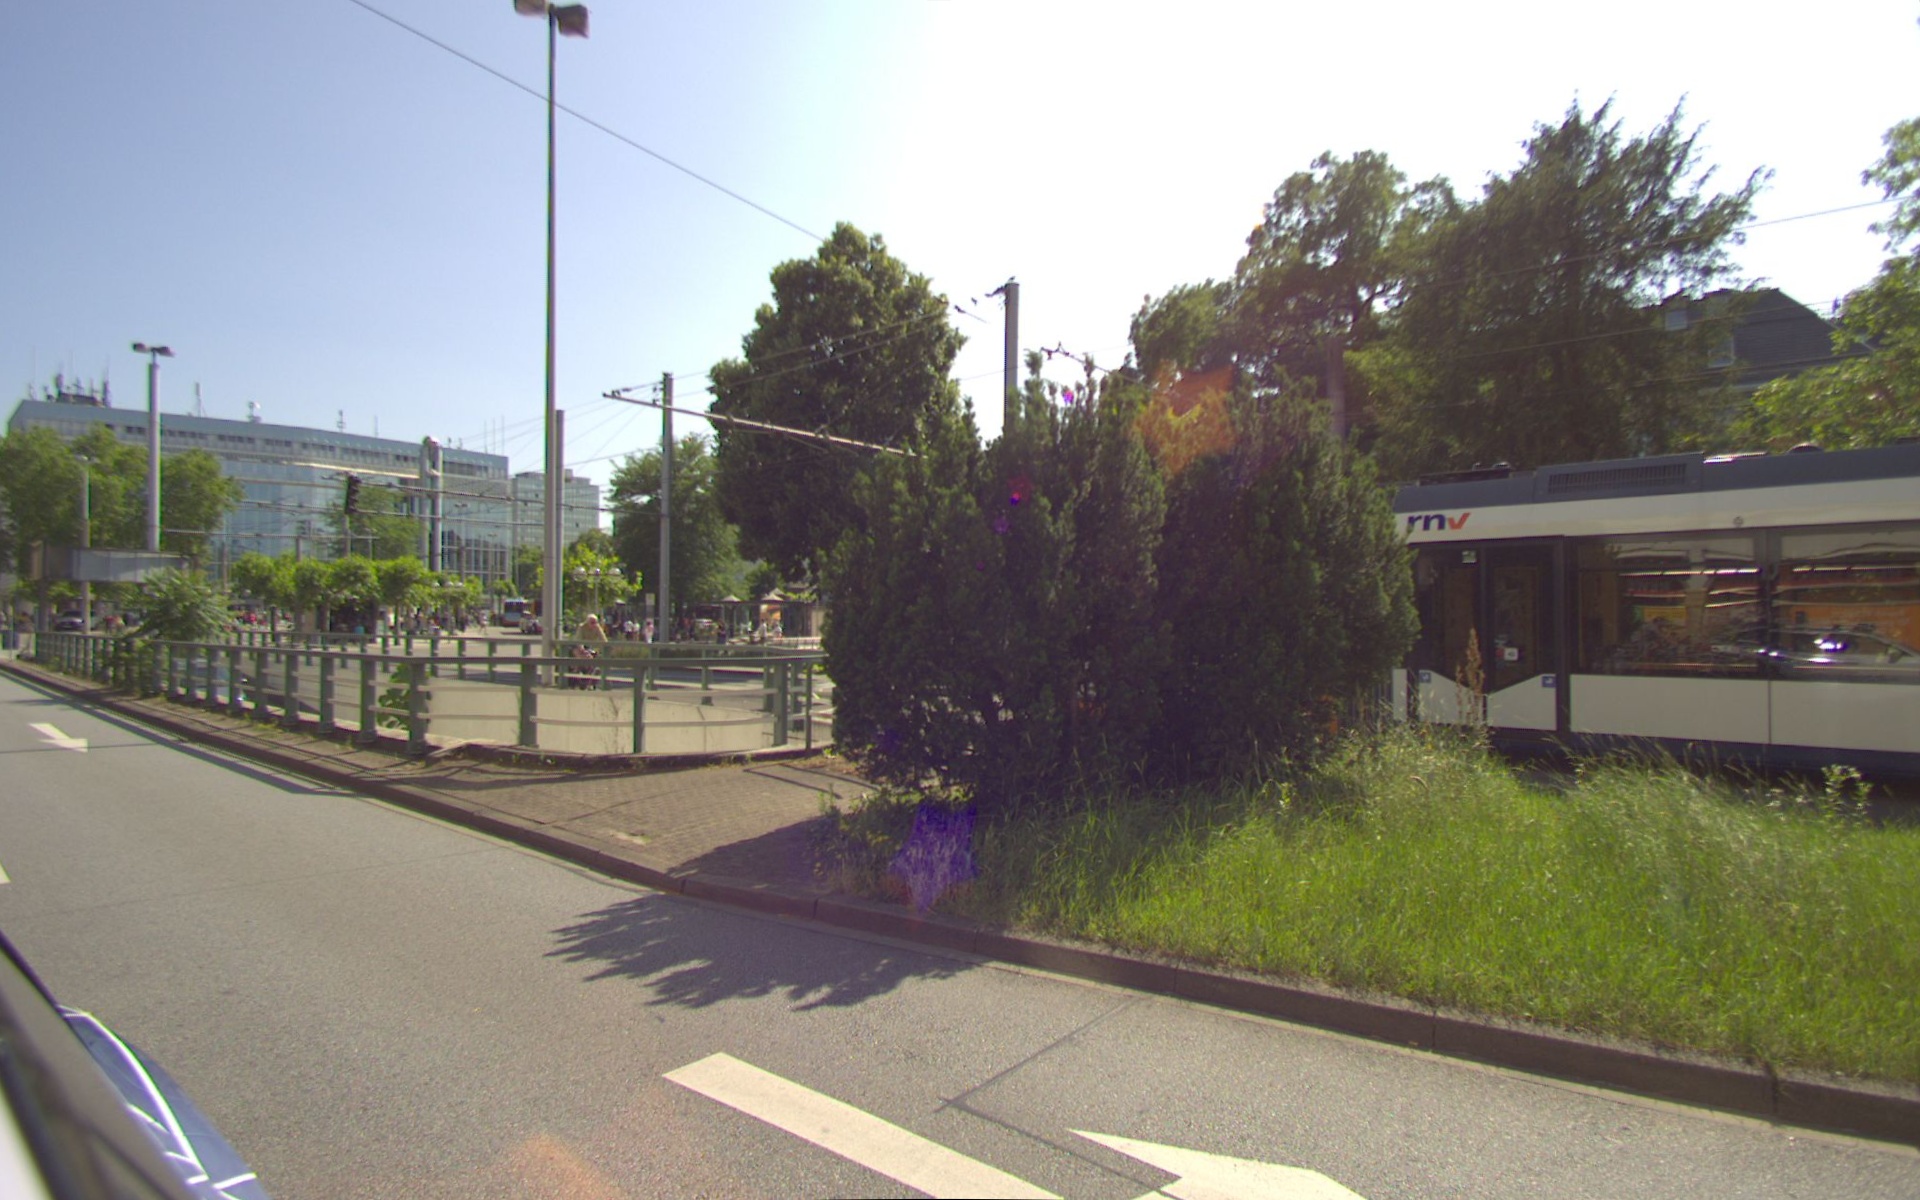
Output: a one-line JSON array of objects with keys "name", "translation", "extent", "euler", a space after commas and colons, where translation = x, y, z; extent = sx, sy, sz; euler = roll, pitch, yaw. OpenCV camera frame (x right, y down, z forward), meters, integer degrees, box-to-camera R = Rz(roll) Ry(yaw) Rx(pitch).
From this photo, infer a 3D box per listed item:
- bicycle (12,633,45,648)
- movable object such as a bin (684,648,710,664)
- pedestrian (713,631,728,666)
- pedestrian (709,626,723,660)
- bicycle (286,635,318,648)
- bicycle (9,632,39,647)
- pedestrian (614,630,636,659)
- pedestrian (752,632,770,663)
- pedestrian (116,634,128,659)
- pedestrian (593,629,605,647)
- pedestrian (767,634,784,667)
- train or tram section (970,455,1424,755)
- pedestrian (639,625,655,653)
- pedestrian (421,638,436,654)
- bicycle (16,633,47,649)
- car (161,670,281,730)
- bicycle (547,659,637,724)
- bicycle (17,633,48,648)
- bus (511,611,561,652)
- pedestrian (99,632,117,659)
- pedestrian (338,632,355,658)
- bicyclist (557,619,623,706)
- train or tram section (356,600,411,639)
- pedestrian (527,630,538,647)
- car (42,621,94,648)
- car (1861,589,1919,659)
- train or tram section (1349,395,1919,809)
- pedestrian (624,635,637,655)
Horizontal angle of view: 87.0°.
[{"name": "bicycle", "translation": [-73.744, 3.192, 80.136], "extent": [0.482, 1.156, 1.841], "euler": [-1, -1, 40]}, {"name": "movable object such as a bin", "translation": [-12.597, 2.681, 48.392], "extent": [0.800, 0.760, 0.897], "euler": [-2, -5, 43]}, {"name": "pedestrian", "translation": [-11.350, 2.309, 47.953], "extent": [0.494, 1.621, 0.409], "euler": [-2, -4, 41]}, {"name": "pedestrian", "translation": [-11.727, 2.046, 48.653], "extent": [0.466, 1.621, 0.446], "euler": [-2, -5, 44]}, {"name": "bicycle", "translation": [-47.164, 2.962, 72.538], "extent": [0.544, 0.862, 1.852], "euler": [-1, 1, 29]}, {"name": "bicycle", "translation": [-76.414, 3.224, 82.649], "extent": [0.482, 1.156, 1.735], "euler": [-1, -1, 40]}, {"name": "pedestrian", "translation": [-21.583, 2.865, 65.255], "extent": [0.953, 1.807, 1.082], "euler": [4, -4, -39]}, {"name": "pedestrian", "translation": [-9.724, 2.307, 49.444], "extent": [0.661, 1.504, 0.519], "euler": [-2, -4, 40]}, {"name": "pedestrian", "translation": [-54.814, 3.053, 66.230], "extent": [0.518, 1.621, 0.627], "euler": [4, -4, -38]}, {"name": "pedestrian", "translation": [-29.295, 3.097, 82.136], "extent": [0.615, 1.477, 0.681], "euler": [4, -5, -43]}, {"name": "pedestrian", "translation": [-9.167, 2.521, 50.267], "extent": [0.619, 1.621, 0.488], "euler": [-1, -4, 36]}, {"name": "train or tram section", "translation": [3.312, 0.059, 15.174], "extent": [6.102, 3.608, 2.586], "euler": [-1, 1, 42]}, {"name": "pedestrian", "translation": [-19.409, 2.410, 62.770], "extent": [0.705, 1.719, 0.669], "euler": [-1, -4, 41]}, {"name": "pedestrian", "translation": [-33.872, 2.951, 64.477], "extent": [0.580, 1.008, 0.627], "euler": [-2, -5, 45]}, {"name": "bicycle", "translation": [-73.003, 3.214, 79.603], "extent": [0.482, 1.156, 1.735], "euler": [-1, -1, 40]}, {"name": "car", "translation": [-20.219, 2.688, 27.641], "extent": [3.997, 1.415, 1.677], "euler": [-1, -5, 40]}, {"name": "bicycle", "translation": [-7.085, 1.733, 19.453], "extent": [1.874, 1.129, 0.808], "euler": [-1, -4, 43]}, {"name": "bicycle", "translation": [-72.642, 3.187, 79.268], "extent": [0.482, 1.156, 1.735], "euler": [-1, -1, 40]}, {"name": "bus", "translation": [-39.695, 2.800, 94.408], "extent": [3.014, 3.445, 12.499], "euler": [-1, 1, -29]}, {"name": "pedestrian", "translation": [-55.313, 2.948, 65.705], "extent": [0.582, 1.747, 0.524], "euler": [0, -3, 12]}, {"name": "pedestrian", "translation": [-38.738, 2.837, 63.901], "extent": [0.598, 1.621, 0.573], "euler": [0, -3, 14]}, {"name": "bicyclist", "translation": [-7.153, 1.210, 19.568], "extent": [0.902, 1.634, 0.809], "euler": [-2, -6, 42]}, {"name": "train or tram section", "translation": [-61.144, 1.996, 107.641], "extent": [2.578, 3.856, 9.545], "euler": [-1, 1, -14]}, {"name": "pedestrian", "translation": [-36.297, 3.263, 85.902], "extent": [0.585, 1.477, 0.521], "euler": [0, -4, 23]}, {"name": "car", "translation": [-74.292, 2.839, 84.406], "extent": [1.965, 2.029, 5.083], "euler": [-1, 1, -26]}, {"name": "car", "translation": [47.407, 1.127, 49.113], "extent": [5.418, 3.341, 2.104], "euler": [-1, 1, 42]}, {"name": "train or tram section", "translation": [7.817, 0.012, 11.061], "extent": [6.102, 3.608, 2.586], "euler": [-1, 1, 42]}, {"name": "pedestrian", "translation": [-21.526, 2.965, 66.135], "extent": [0.613, 1.273, 0.583], "euler": [4, -4, -39]}]
